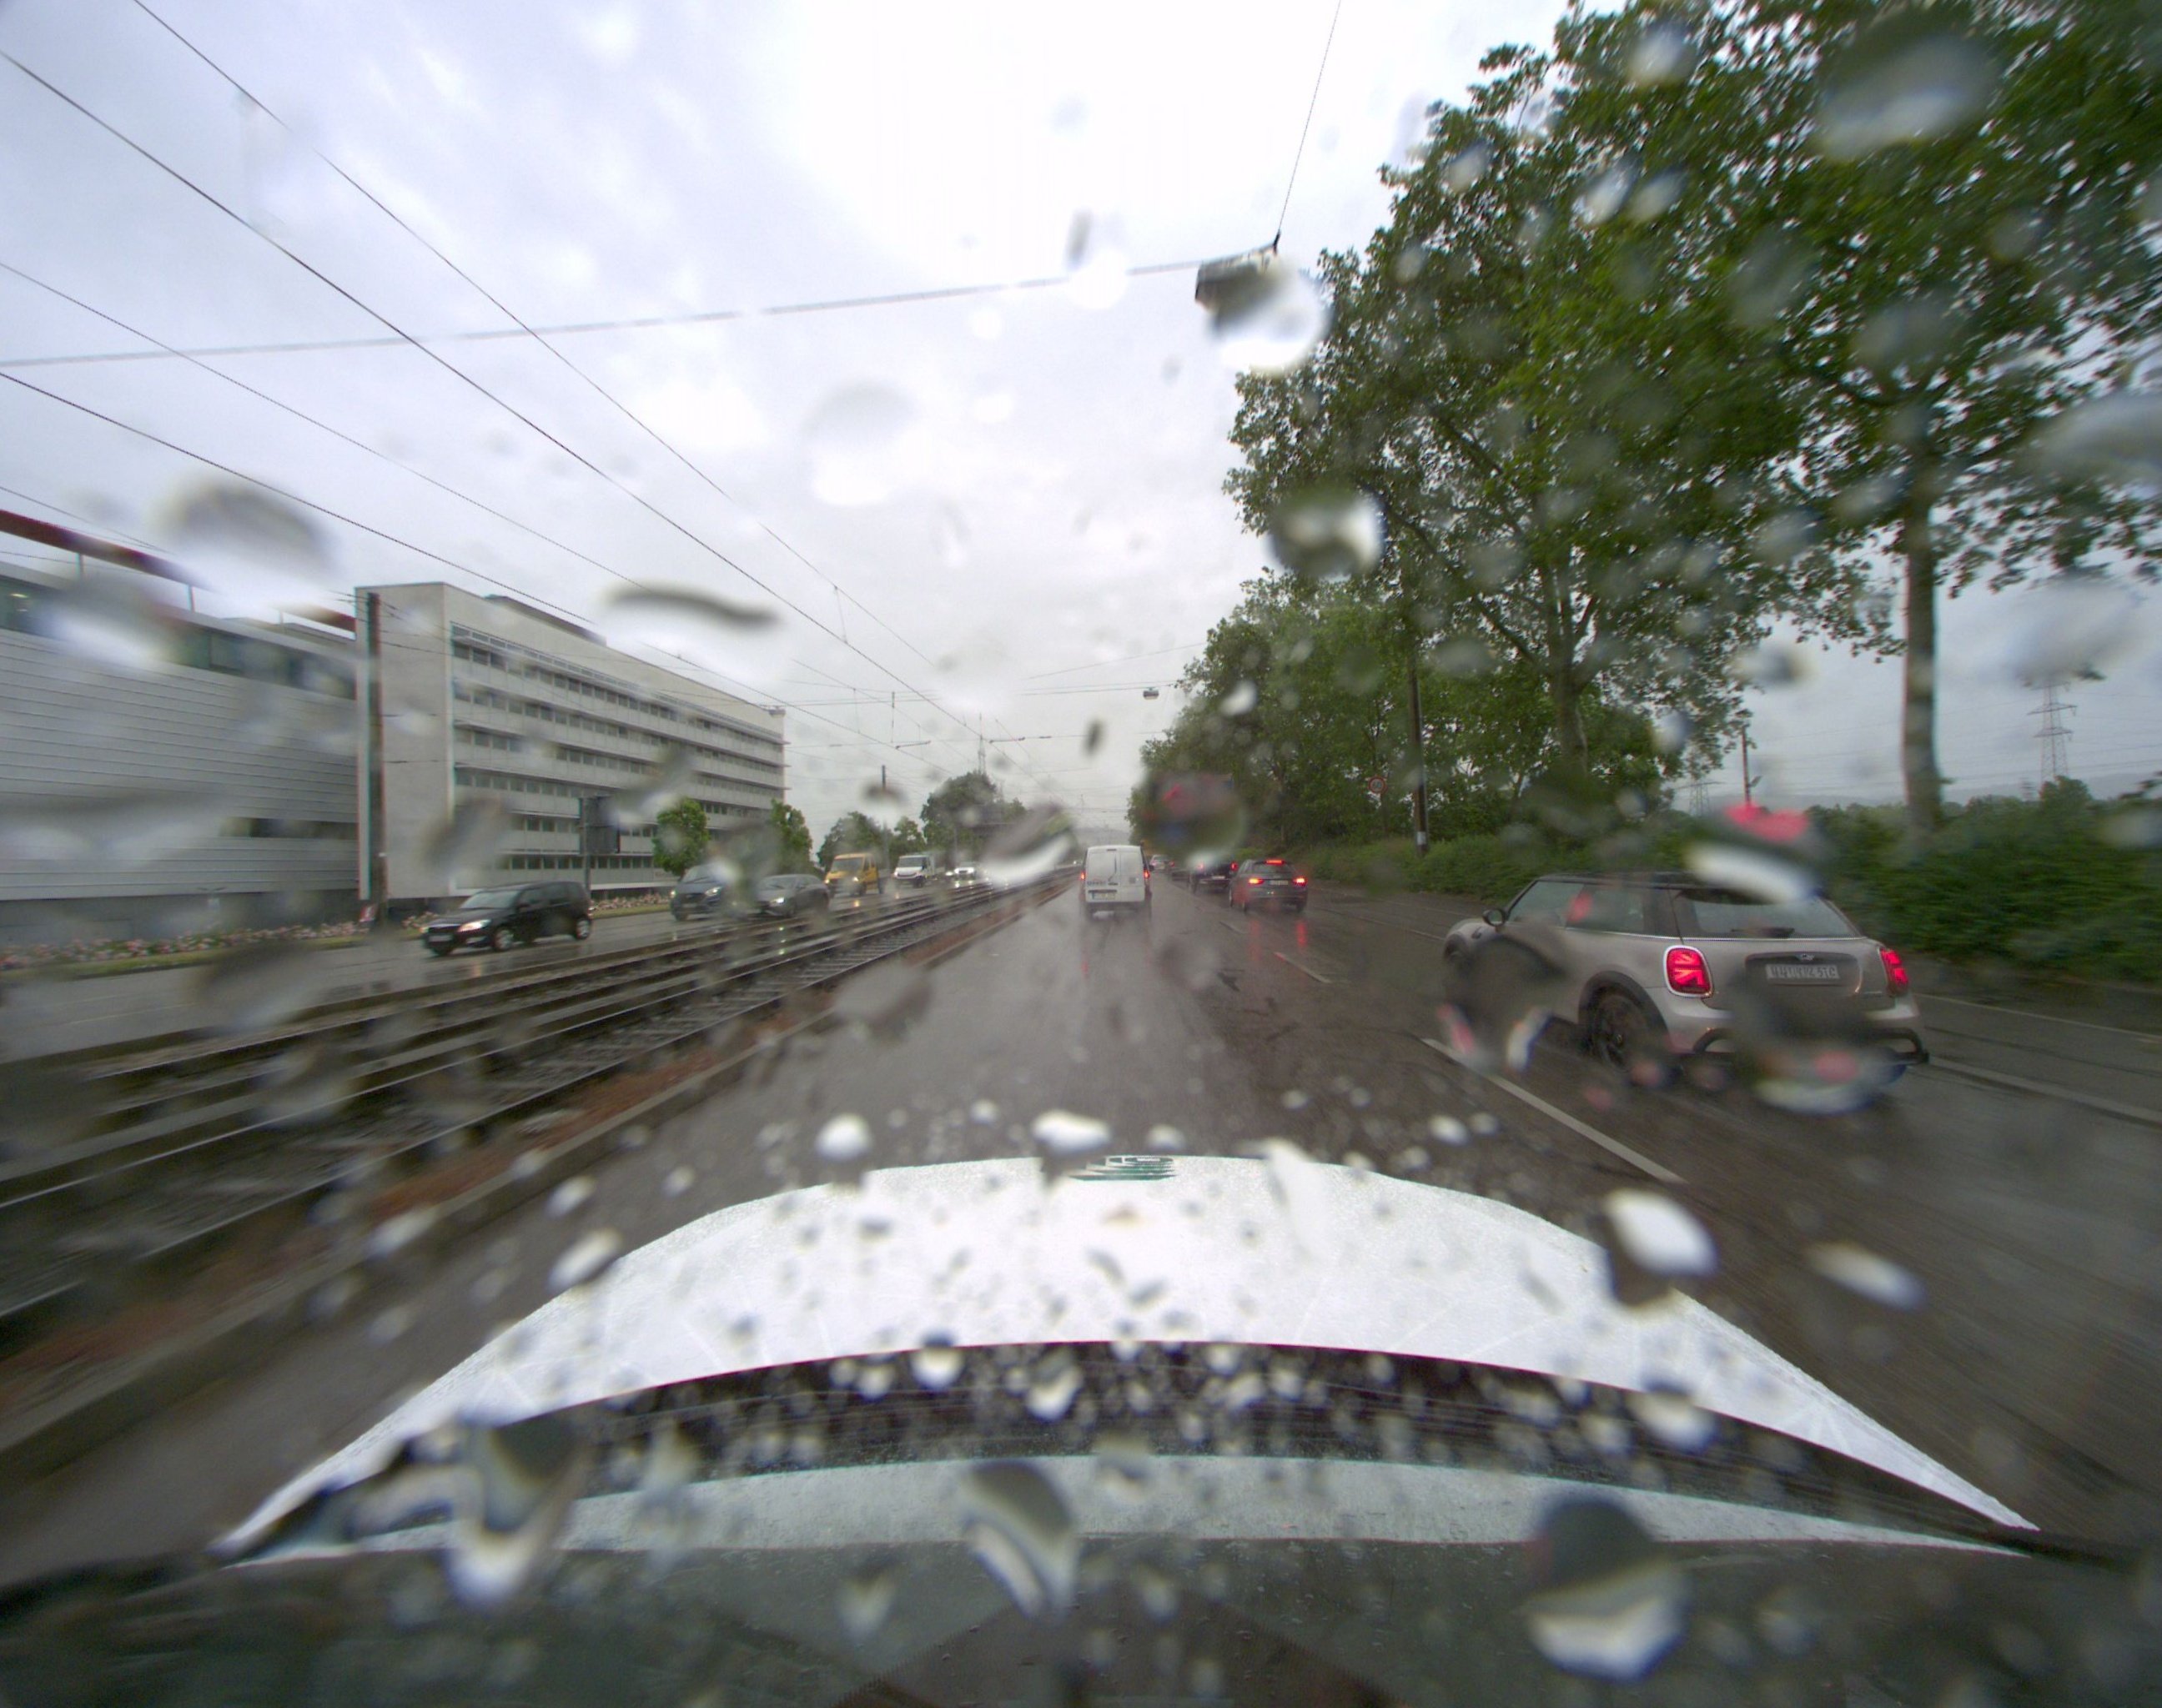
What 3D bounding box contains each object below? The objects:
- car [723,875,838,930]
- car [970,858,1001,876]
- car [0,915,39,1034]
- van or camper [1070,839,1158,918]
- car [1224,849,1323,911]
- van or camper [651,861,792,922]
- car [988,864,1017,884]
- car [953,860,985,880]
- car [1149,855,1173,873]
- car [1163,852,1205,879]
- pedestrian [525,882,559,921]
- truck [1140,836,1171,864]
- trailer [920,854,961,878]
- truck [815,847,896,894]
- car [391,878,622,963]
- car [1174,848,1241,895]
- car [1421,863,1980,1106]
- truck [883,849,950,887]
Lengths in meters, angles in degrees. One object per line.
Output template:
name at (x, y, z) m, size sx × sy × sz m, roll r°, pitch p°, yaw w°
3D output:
car at (-10.052, 1.575, 27.637) m, size 1.850 × 1.494 × 4.694 m, roll -3°, pitch 0°, yaw 3°
car at (-9.485, 1.301, 81.128) m, size 1.984 × 1.583 × 4.774 m, roll -3°, pitch 0°, yaw 6°
car at (-15.033, 1.627, 8.642) m, size 1.957 × 1.516 × 4.555 m, roll -4°, pitch -1°, yaw 1°
van or camper at (0.795, 0.537, 20.734) m, size 1.987 × 1.784 × 4.001 m, roll -1°, pitch 1°, yaw 1°
car at (5.276, 0.649, 22.840) m, size 1.960 × 1.528 × 3.993 m, roll -1°, pitch 1°, yaw 2°
van or camper at (-13.186, 1.286, 30.407) m, size 2.293 × 2.013 × 5.694 m, roll 0°, pitch 0°, yaw 5°
car at (-6.897, 1.734, 72.168) m, size 1.811 × 1.623 × 4.540 m, roll -2°, pitch 0°, yaw 3°
car at (-10.036, 1.423, 73.028) m, size 1.762 × 1.682 × 4.697 m, roll 0°, pitch 0°, yaw 6°
car at (6.592, 0.796, 67.491) m, size 1.810 × 1.414 × 3.783 m, roll -1°, pitch 1°, yaw 4°
car at (6.059, 0.654, 48.177) m, size 1.814 × 1.414 × 3.774 m, roll -1°, pitch 1°, yaw -4°
pedestrian at (-25.242, 2.189, 38.152) m, size 0.818 × 1.762 × 1.051 m, roll 0°, pitch -1°, yaw 6°
truck at (7.960, -0.432, 87.760) m, size 3.100 × 2.773 × 6.334 m, roll -2°, pitch 0°, yaw 3°
trailer at (-10.755, 0.879, 62.606) m, size 2.108 × 1.792 × 3.843 m, roll 0°, pitch 0°, yaw 6°
truck at (-12.445, 0.858, 45.533) m, size 2.215 × 2.461 × 6.078 m, roll 0°, pitch 0°, yaw 7°
car at (-13.912, 1.528, 20.190) m, size 1.849 × 1.617 × 4.915 m, roll -3°, pitch 0°, yaw 5°
car at (5.151, 0.664, 33.702) m, size 1.894 × 1.716 × 4.723 m, roll -1°, pitch 1°, yaw -2°
car at (4.464, 0.793, 6.745) m, size 1.785 × 1.414 × 3.855 m, roll 1°, pitch -1°, yaw 1°
truck at (-11.403, 0.921, 57.135) m, size 2.422 × 2.458 × 7.233 m, roll 0°, pitch 0°, yaw 7°
